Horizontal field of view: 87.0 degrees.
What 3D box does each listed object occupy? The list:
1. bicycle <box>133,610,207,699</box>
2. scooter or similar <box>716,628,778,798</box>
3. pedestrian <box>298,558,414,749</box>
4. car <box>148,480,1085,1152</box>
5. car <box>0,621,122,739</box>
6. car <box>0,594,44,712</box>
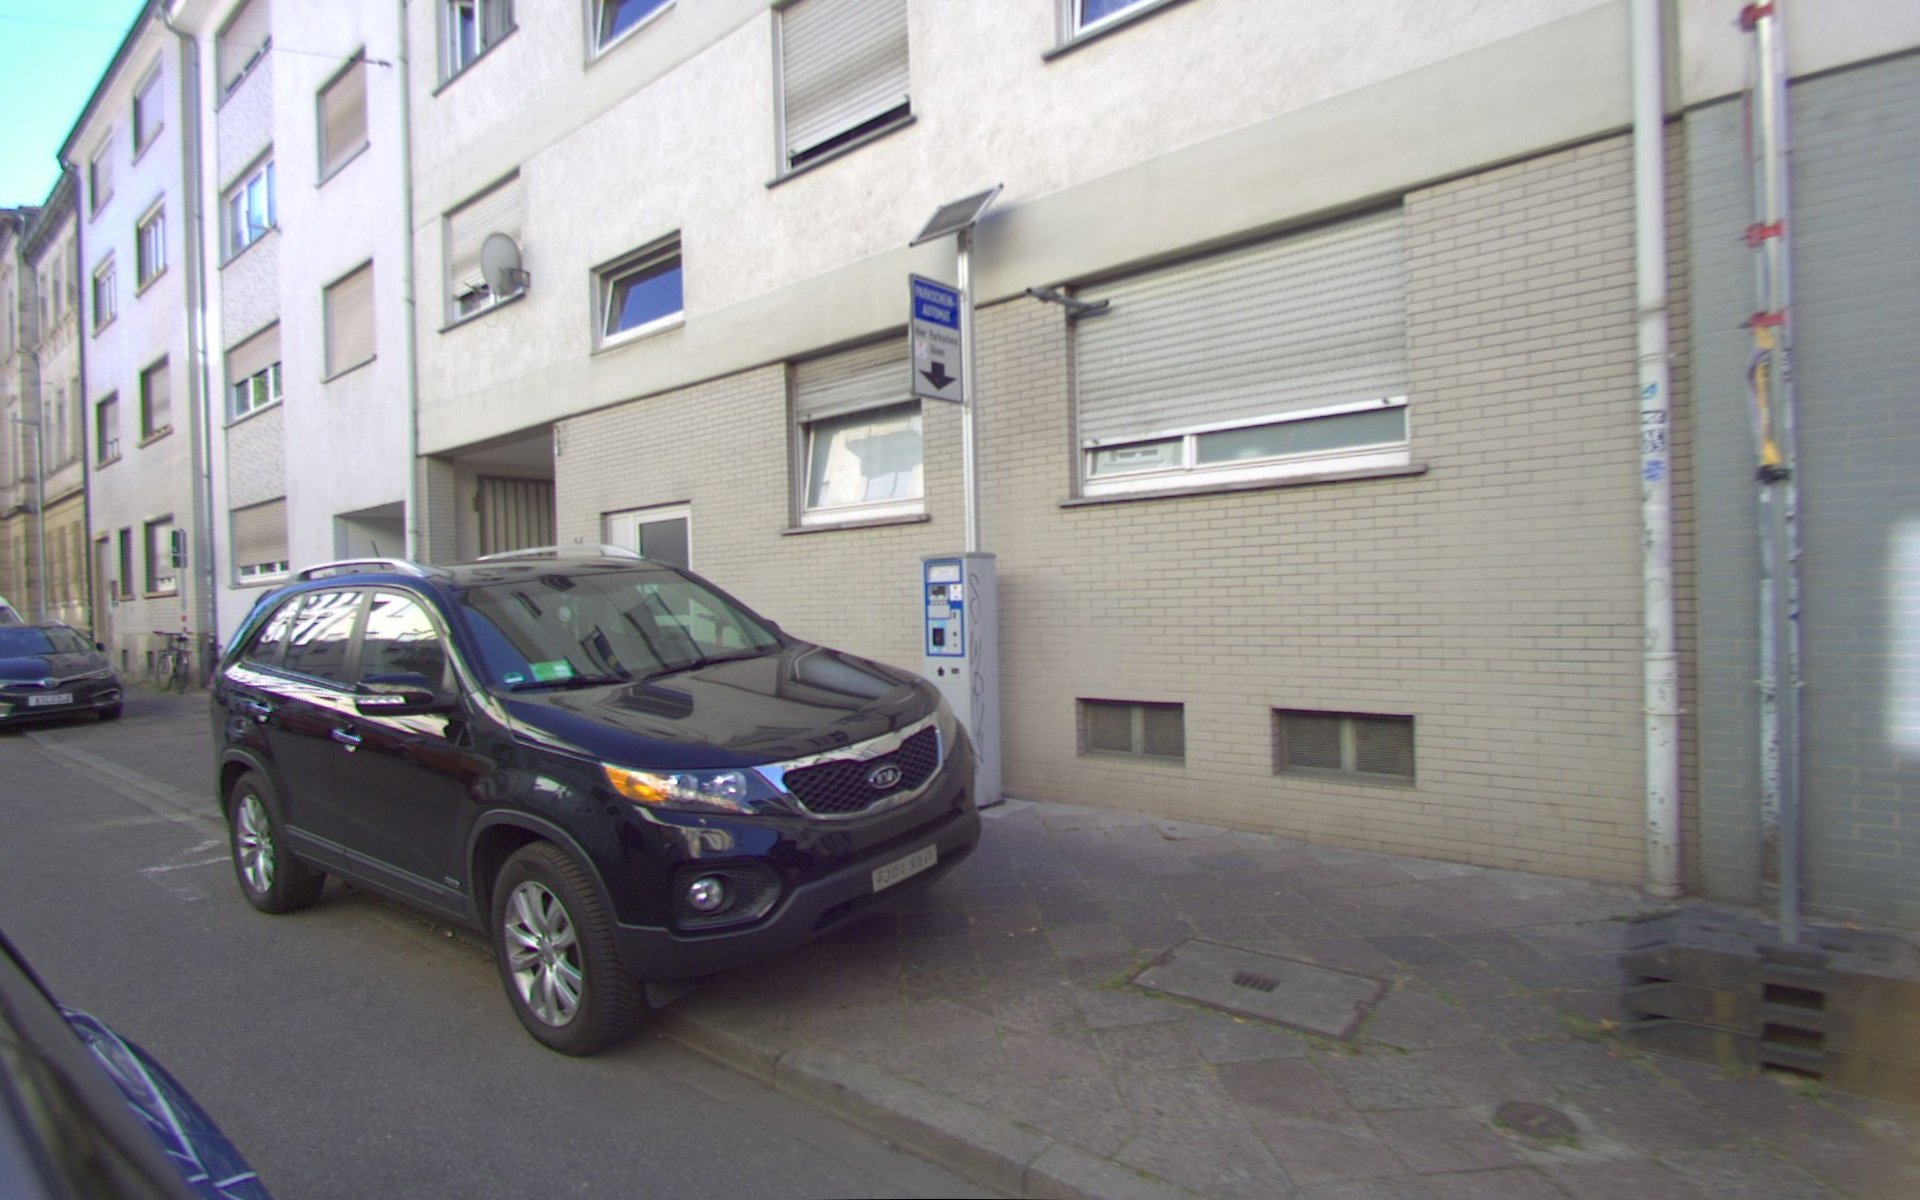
[{"bbox_3d":[-14.375,0.970,18.401,1.797,1.520,0.552,-2,1,37],"label":"bicycle"},{"bbox_3d":[-1.756,0.887,8.445,0.431,1.288,1.235,-1,-1,-9],"label":"scooter or similar"},{"bbox_3d":[-6.500,0.547,10.905,0.690,1.948,0.798,-2,2,40],"label":"pedestrian"},{"bbox_3d":[-1.895,0.589,4.762,4.535,1.768,1.863,-3,2,37],"label":"car"},{"bbox_3d":[-13.689,1.089,14.579,4.297,1.461,1.690,-2,0,39],"label":"car"},{"bbox_3d":[-18.433,1.013,18.368,4.775,1.973,1.876,-3,1,39],"label":"car"}]
